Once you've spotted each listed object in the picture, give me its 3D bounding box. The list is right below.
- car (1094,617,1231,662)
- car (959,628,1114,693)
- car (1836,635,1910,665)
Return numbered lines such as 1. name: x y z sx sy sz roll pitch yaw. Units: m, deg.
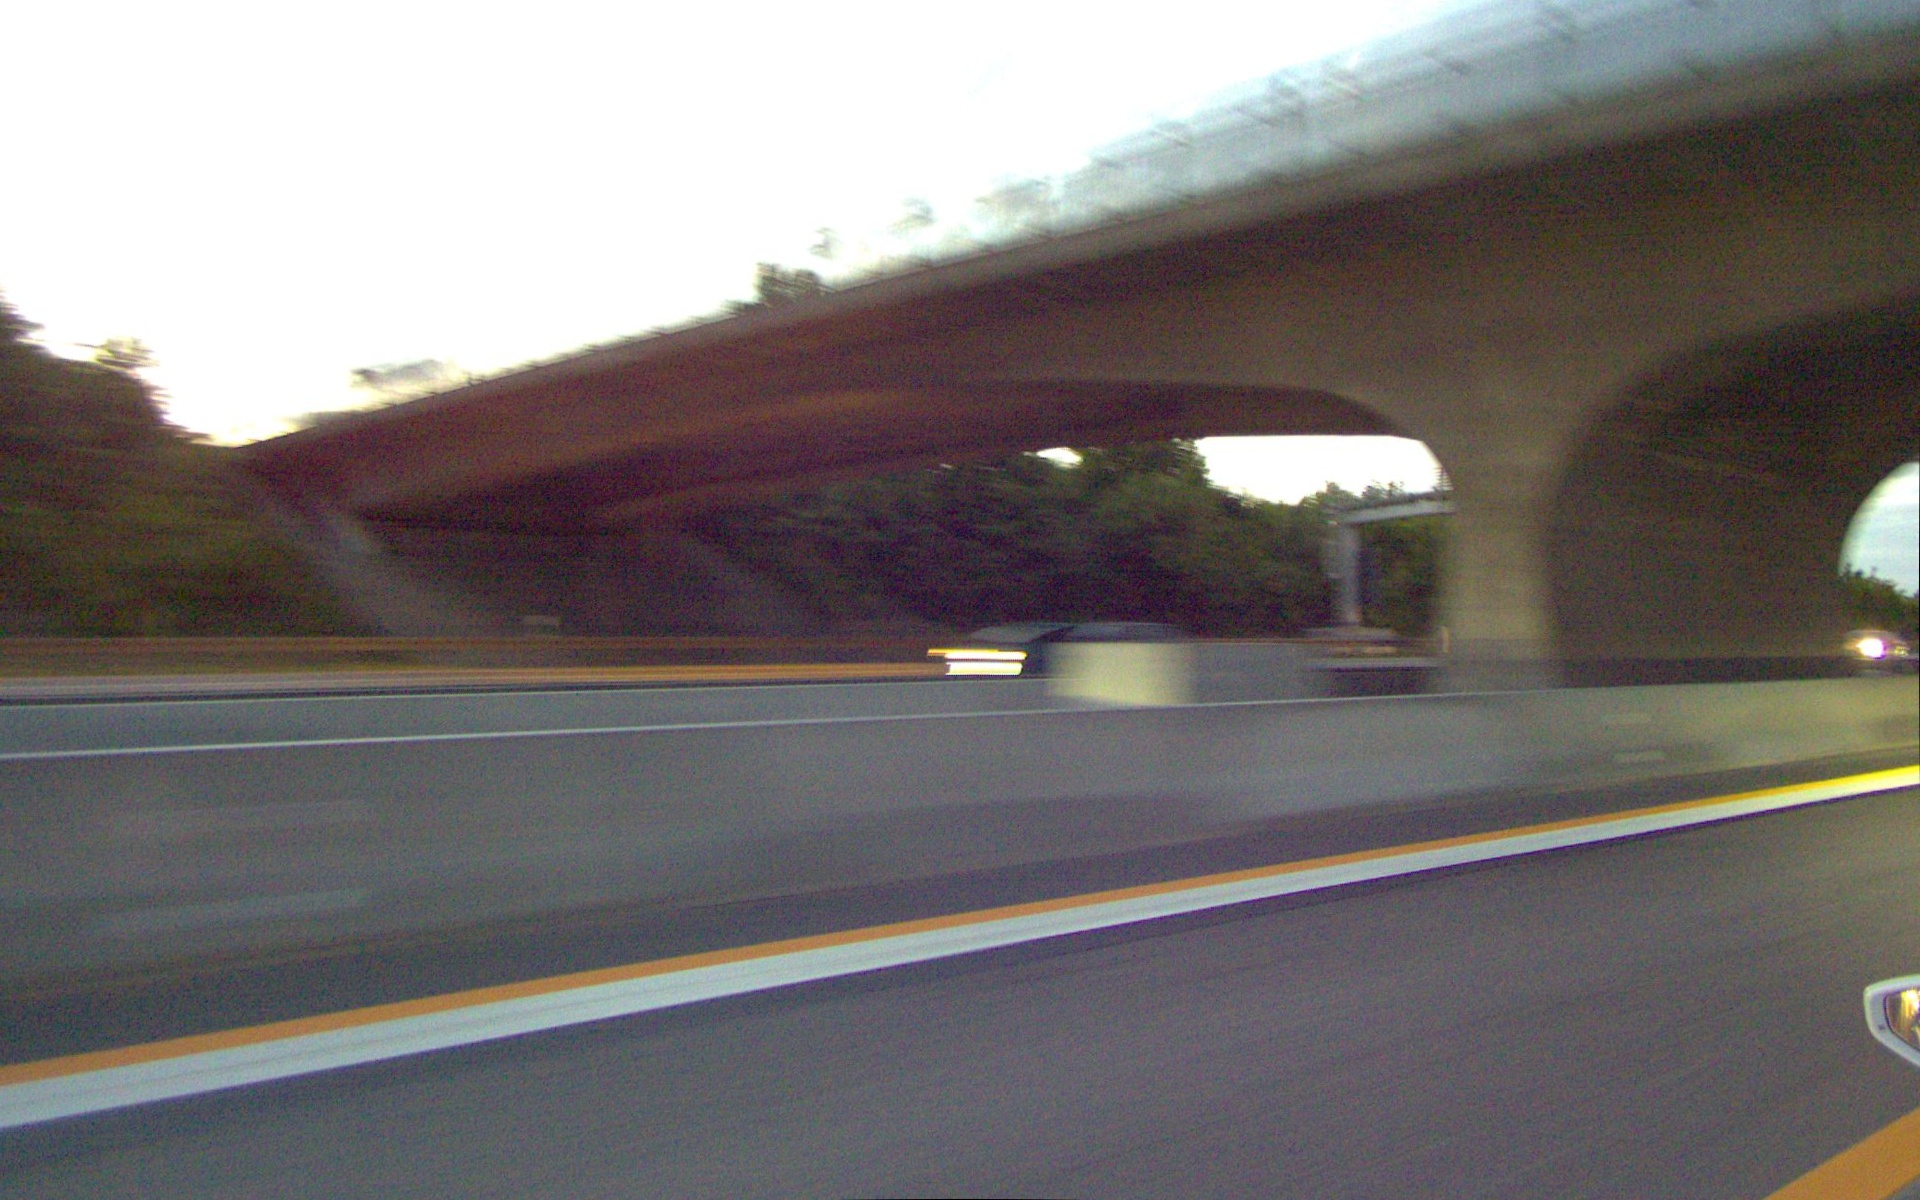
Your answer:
1. car: 6.389 1.223 31.678 3.954 1.340 1.983 1 -1 -31
2. car: 1.898 1.462 24.734 3.478 1.425 1.619 2 0 -30
3. car: 48.644 2.665 53.501 3.881 1.475 1.696 2 0 -28
